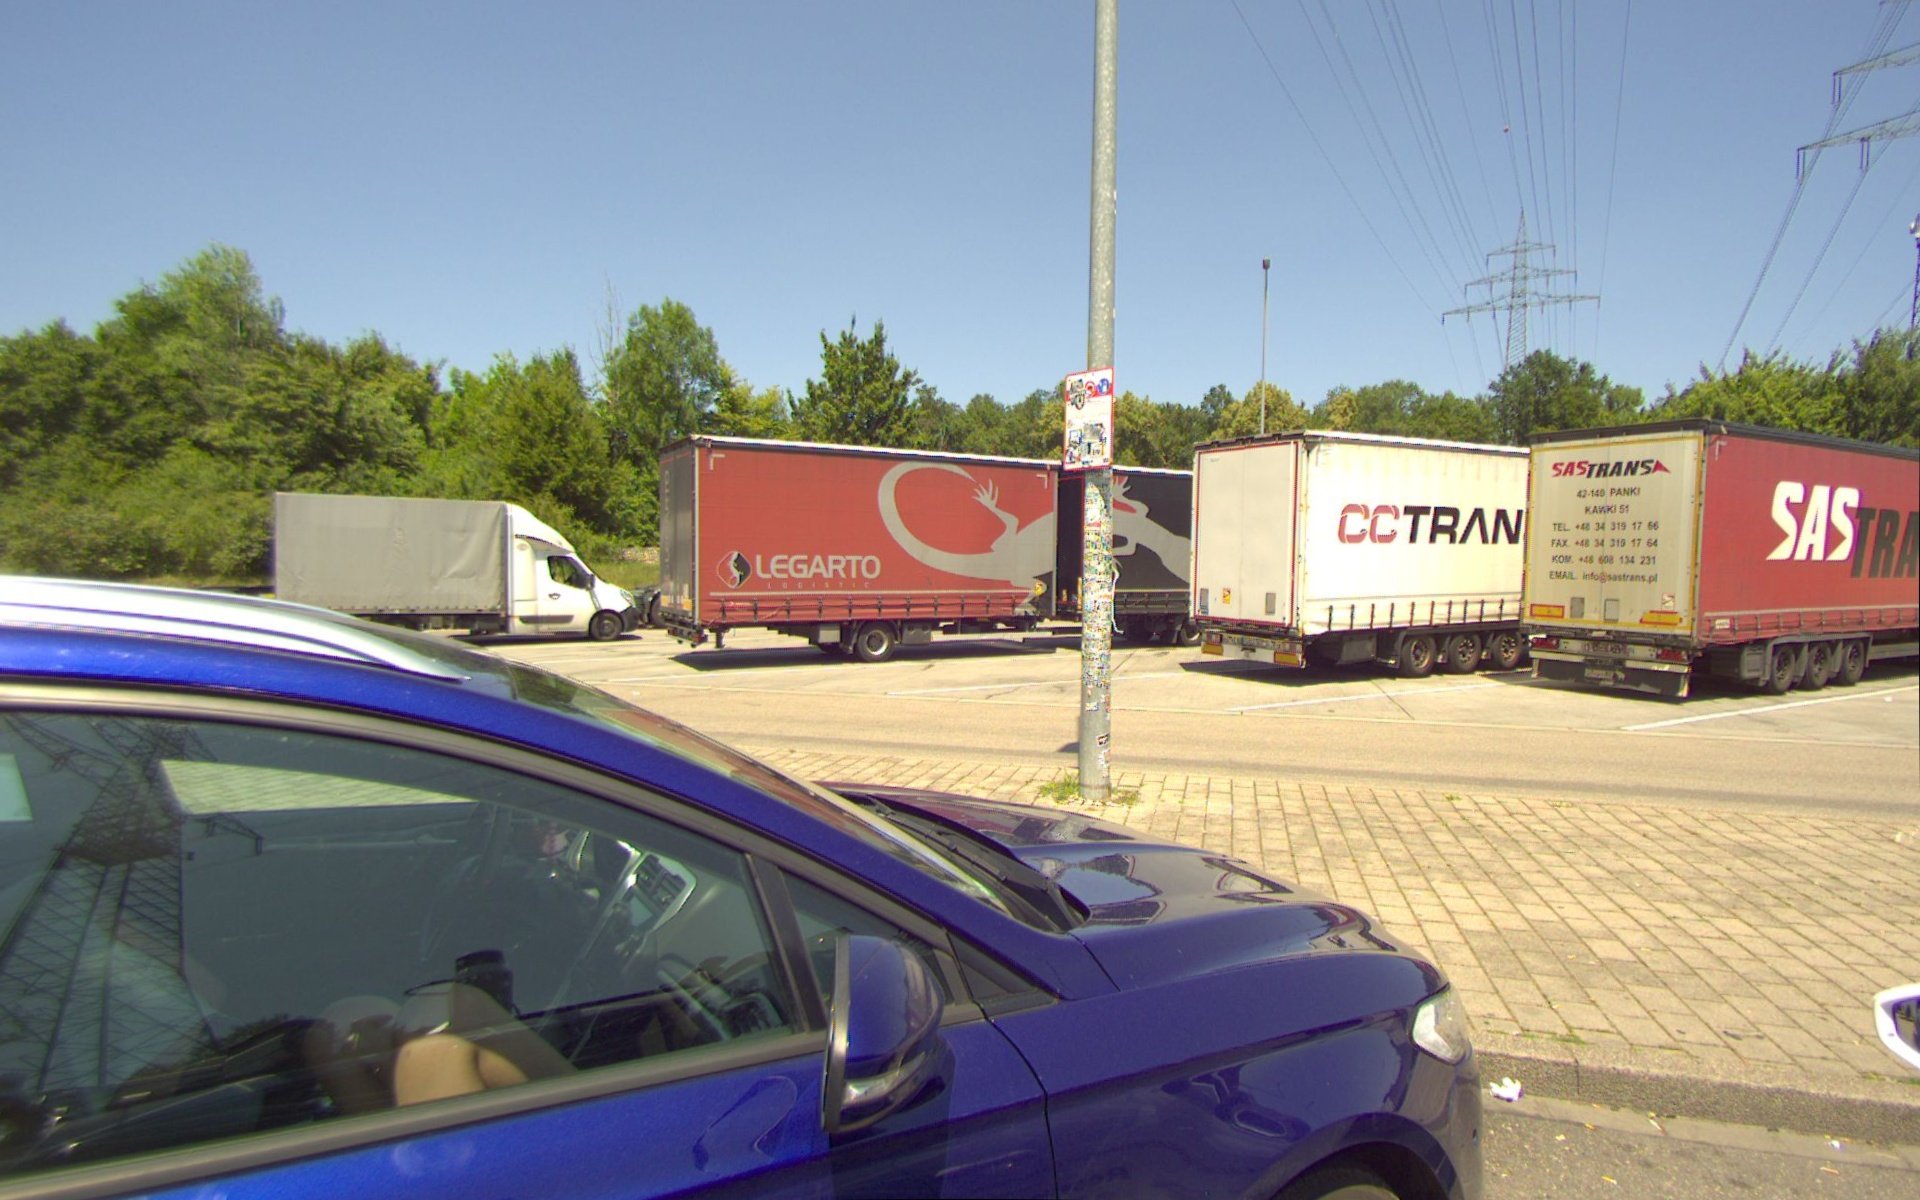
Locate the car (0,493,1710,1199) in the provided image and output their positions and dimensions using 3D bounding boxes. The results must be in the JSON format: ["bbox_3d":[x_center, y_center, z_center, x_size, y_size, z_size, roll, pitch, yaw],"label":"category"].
[{"bbox_3d":[-0.972,0.651,1.445,4.522,1.491,1.743,0,2,-32],"label":"car"}]

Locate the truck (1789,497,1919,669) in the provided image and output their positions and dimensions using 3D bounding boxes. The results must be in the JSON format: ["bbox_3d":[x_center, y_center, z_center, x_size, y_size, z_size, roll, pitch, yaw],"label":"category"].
[{"bbox_3d":[21.259,-0.400,22.041,5.903,3.409,2.798,-1,3,-30],"label":"truck"}]

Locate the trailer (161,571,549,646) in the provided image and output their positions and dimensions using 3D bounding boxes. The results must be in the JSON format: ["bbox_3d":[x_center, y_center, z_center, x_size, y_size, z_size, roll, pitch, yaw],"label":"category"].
[{"bbox_3d":[-14.749,0.110,25.227,8.007,1.648,2.199,-1,3,-30],"label":"trailer"}]

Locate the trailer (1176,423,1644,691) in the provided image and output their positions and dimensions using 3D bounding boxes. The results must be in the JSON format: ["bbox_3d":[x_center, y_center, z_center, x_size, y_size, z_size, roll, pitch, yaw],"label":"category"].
[{"bbox_3d":[8.973,-0.767,19.338,10.264,4.158,2.693,-1,3,-30],"label":"trailer"}]

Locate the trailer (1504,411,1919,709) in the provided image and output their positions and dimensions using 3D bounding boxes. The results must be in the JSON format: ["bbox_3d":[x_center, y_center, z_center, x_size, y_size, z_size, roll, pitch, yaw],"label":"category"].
[{"bbox_3d":[15.467,-0.674,18.604,13.599,4.127,2.807,-1,3,-31],"label":"trailer"}]

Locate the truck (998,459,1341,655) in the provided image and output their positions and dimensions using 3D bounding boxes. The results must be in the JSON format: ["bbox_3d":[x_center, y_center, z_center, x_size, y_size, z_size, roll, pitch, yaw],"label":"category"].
[{"bbox_3d":[5.272,-0.994,24.533,8.586,4.127,2.693,-1,3,-30],"label":"truck"}]

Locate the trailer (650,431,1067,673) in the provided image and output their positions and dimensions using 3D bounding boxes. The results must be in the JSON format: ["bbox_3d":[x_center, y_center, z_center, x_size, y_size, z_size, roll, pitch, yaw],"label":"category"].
[{"bbox_3d":[-1.881,-0.900,20.324,8.007,4.127,2.693,-1,3,-30],"label":"trailer"}]

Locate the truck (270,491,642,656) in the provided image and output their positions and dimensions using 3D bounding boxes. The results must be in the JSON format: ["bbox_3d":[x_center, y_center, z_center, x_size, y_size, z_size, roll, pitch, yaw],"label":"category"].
[{"bbox_3d":[-11.238,-0.618,22.988,7.187,3.289,2.694,-1,3,-29],"label":"truck"}]

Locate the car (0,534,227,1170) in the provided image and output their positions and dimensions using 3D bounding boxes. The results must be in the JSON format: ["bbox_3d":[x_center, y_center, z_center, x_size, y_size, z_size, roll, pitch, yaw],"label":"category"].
[{"bbox_3d":[-4.413,0.579,2.082,4.522,1.526,1.743,0,2,-32],"label":"car"}]
